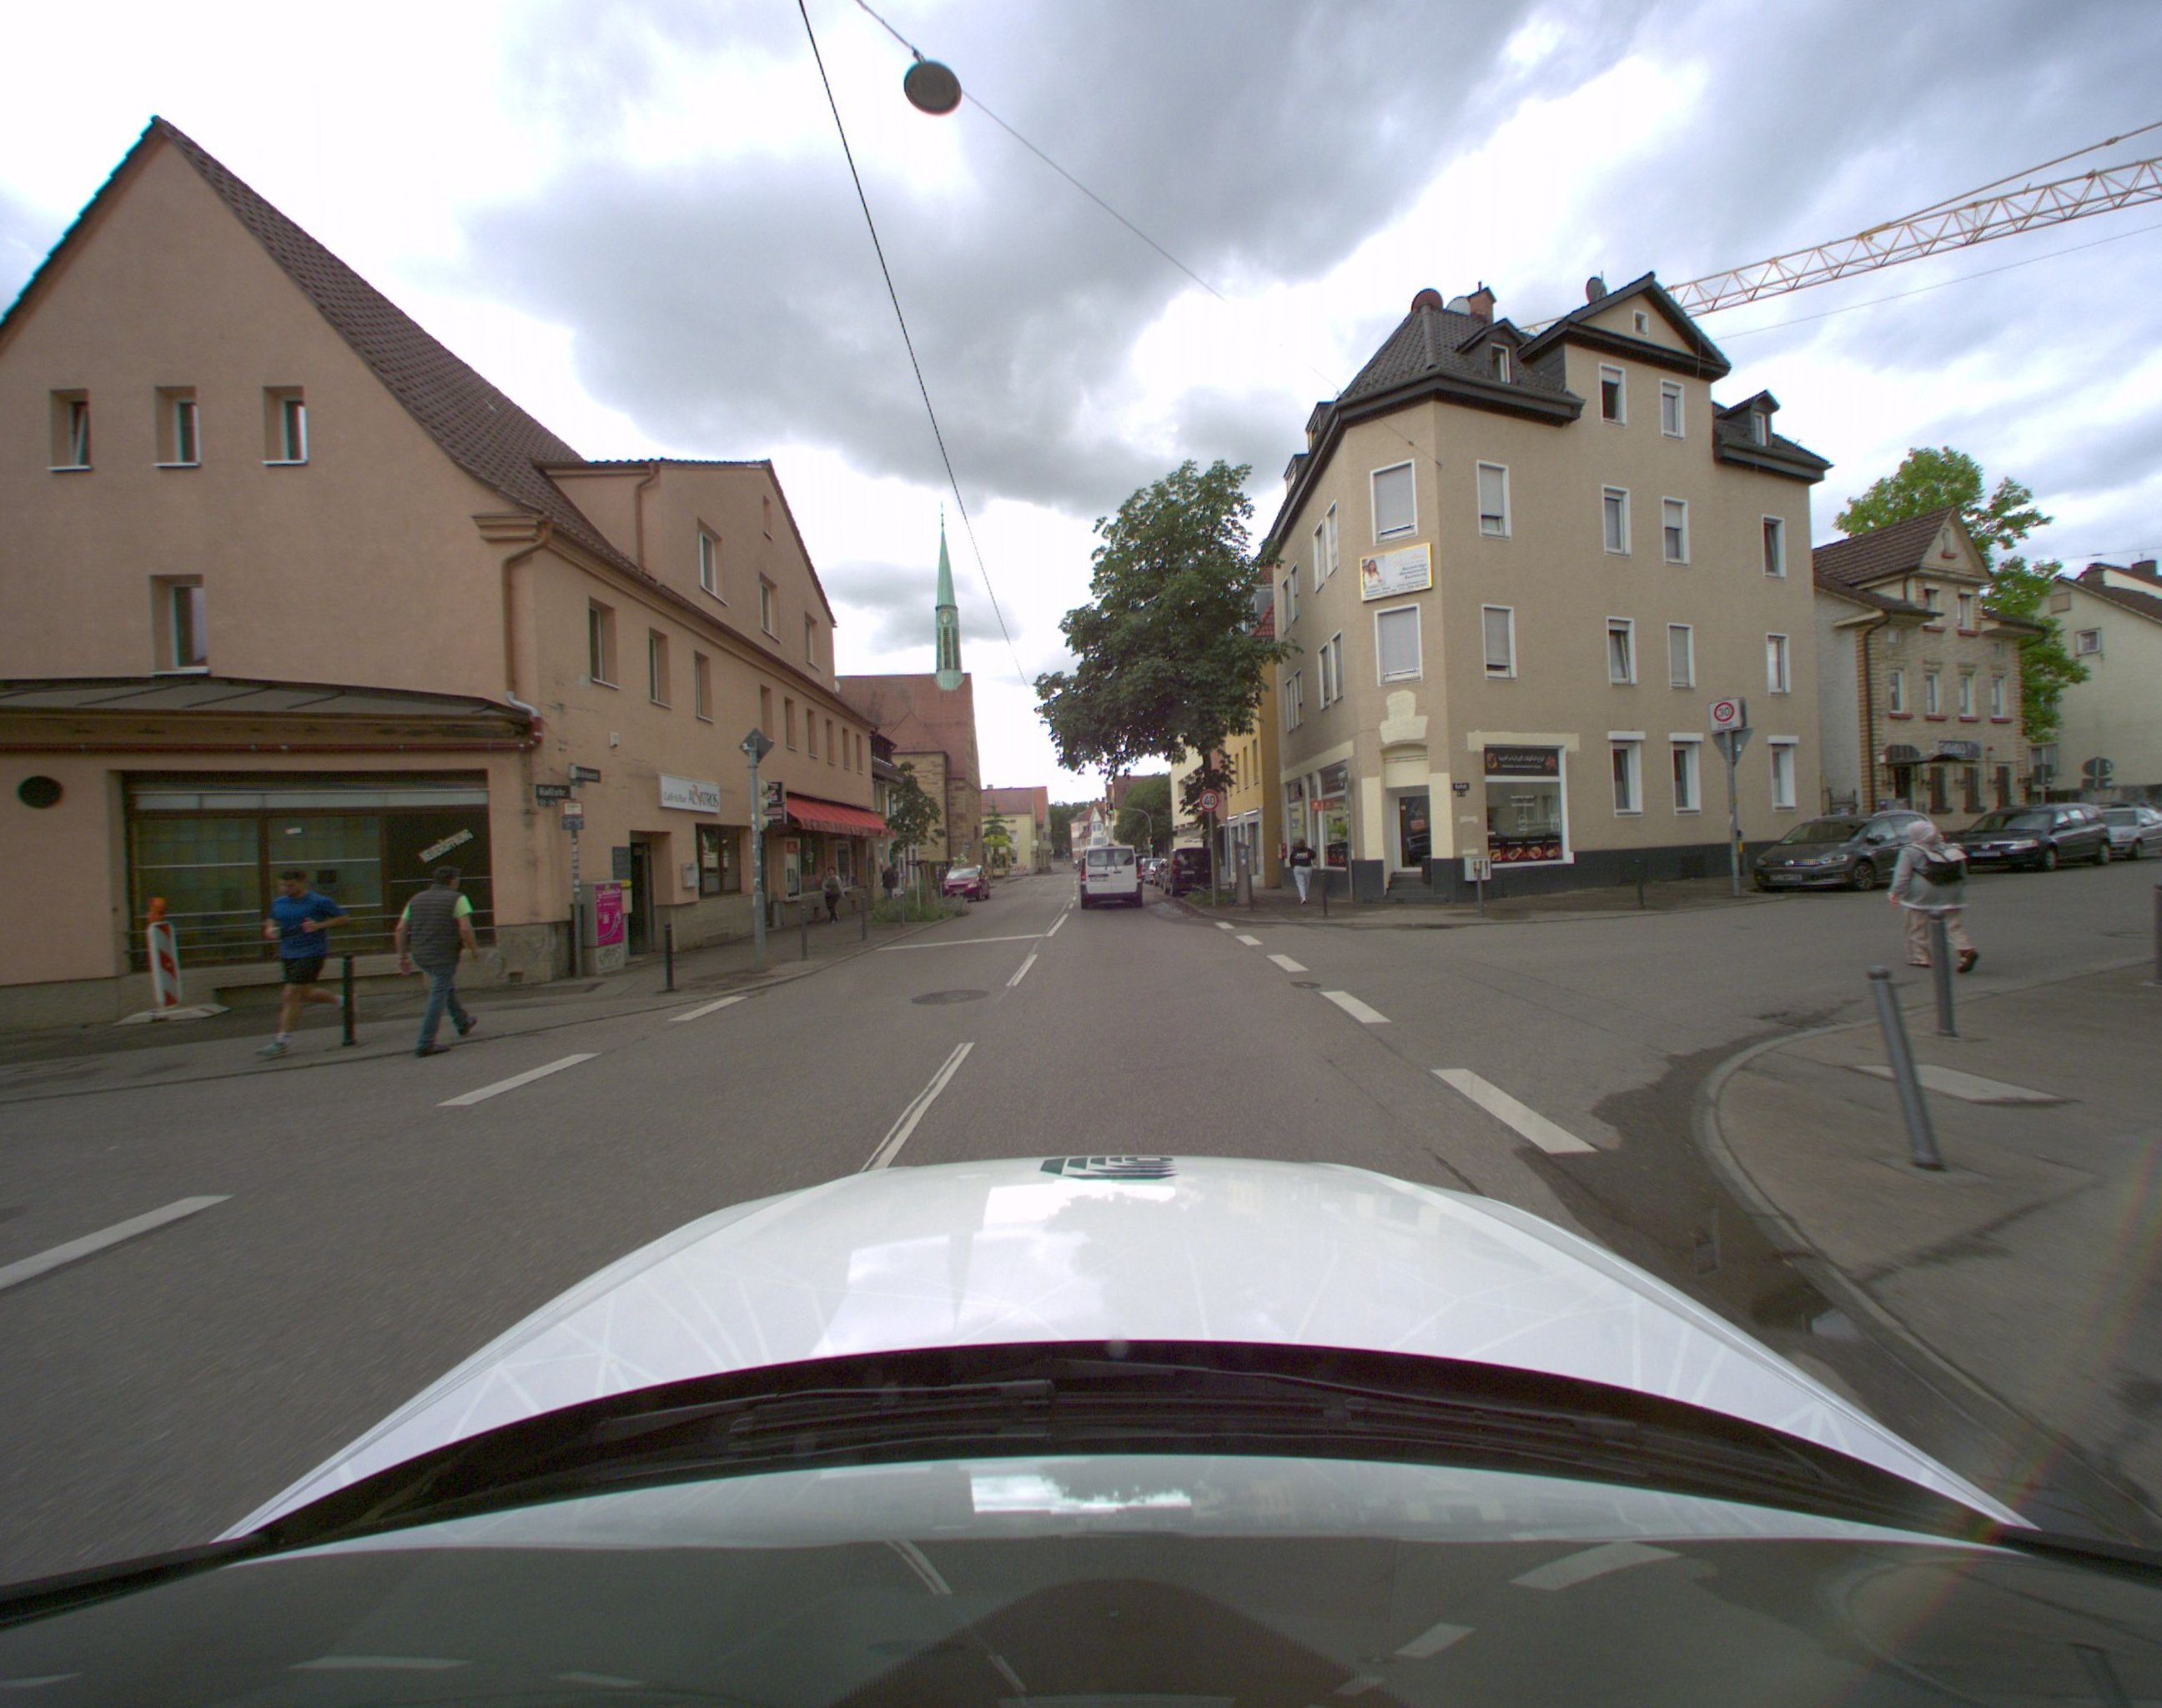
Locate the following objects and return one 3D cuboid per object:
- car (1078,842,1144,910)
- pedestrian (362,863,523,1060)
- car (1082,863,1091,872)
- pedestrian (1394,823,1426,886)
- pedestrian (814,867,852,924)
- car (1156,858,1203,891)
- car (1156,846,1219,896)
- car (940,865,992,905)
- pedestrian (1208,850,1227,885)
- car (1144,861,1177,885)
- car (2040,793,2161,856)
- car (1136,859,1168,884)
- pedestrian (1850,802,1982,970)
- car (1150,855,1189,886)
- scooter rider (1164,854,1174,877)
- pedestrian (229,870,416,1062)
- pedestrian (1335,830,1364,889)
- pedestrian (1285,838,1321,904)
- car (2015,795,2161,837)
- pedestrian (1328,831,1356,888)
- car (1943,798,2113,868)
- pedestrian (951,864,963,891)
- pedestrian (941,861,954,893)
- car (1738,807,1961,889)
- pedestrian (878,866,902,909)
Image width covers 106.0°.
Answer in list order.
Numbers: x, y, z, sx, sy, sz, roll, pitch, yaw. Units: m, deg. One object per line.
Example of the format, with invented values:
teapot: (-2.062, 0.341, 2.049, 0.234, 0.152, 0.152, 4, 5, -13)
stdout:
car: (0.935, 0.654, 25.755, 1.866, 1.912, 4.001, -2, -1, 1)
pedestrian: (-6.118, 0.978, 7.865, 0.736, 1.754, 0.983, -2, 0, 0)
car: (1.286, 2.998, 179.775, 1.929, 2.014, 3.998, -1, -1, -1)
pedestrian: (8.365, 0.021, 20.747, 0.565, 1.560, 0.521, -1, -1, 1)
pedestrian: (-6.994, 1.158, 23.042, 0.736, 1.535, 0.982, -2, 0, -1)
car: (4.662, 0.977, 39.157, 1.745, 1.406, 4.512, -3, -1, 1)
car: (4.148, 0.660, 32.459, 1.814, 1.781, 4.401, -2, -1, -1)
car: (-5.275, 1.369, 37.859, 1.697, 1.574, 4.450, -4, 0, 0)
pedestrian: (6.569, 0.633, 39.281, 0.699, 1.649, 0.888, -3, 0, 0)
car: (4.788, 1.139, 49.480, 1.546, 1.333, 3.811, -2, -1, 0)
car: (29.068, -0.801, 22.852, 4.239, 1.621, 1.672, -1, -1, -24)
car: (4.711, 1.133, 54.593, 1.706, 1.560, 3.784, -2, -1, -1)
pedestrian: (8.787, 0.322, 8.580, 0.679, 1.664, 0.792, -2, -1, -35)
car: (4.773, 0.901, 44.416, 1.597, 1.518, 4.207, -3, -1, 0)
scooter rider: (6.622, 0.863, 61.403, 0.453, 1.632, 0.502, -4, -2, -14)
pedestrian: (-7.441, 1.034, 8.062, 0.736, 1.718, 1.156, -2, 0, -2)
pedestrian: (7.329, 0.152, 22.254, 0.565, 1.560, 0.655, -1, -1, 1)
pedestrian: (5.764, 0.432, 21.188, 0.612, 1.653, 0.982, -3, 0, 0)
car: (41.006, -1.489, 32.887, 1.695, 1.393, 3.979, -1, -1, -15)
pedestrian: (7.323, 0.163, 22.890, 0.565, 1.560, 0.556, -1, -1, 1)
car: (23.978, -0.500, 20.605, 4.239, 1.621, 1.649, -1, -1, -24)
pedestrian: (-7.179, 1.353, 47.103, 0.569, 1.554, 0.697, -1, -1, 1)
pedestrian: (-7.838, 1.339, 47.808, 0.569, 1.848, 0.697, 1, -1, 1)
car: (16.854, -0.136, 17.877, 4.234, 1.621, 1.873, -1, -1, -21)
pedestrian: (-7.531, 1.297, 32.073, 0.733, 1.628, 0.752, -2, -1, -24)
